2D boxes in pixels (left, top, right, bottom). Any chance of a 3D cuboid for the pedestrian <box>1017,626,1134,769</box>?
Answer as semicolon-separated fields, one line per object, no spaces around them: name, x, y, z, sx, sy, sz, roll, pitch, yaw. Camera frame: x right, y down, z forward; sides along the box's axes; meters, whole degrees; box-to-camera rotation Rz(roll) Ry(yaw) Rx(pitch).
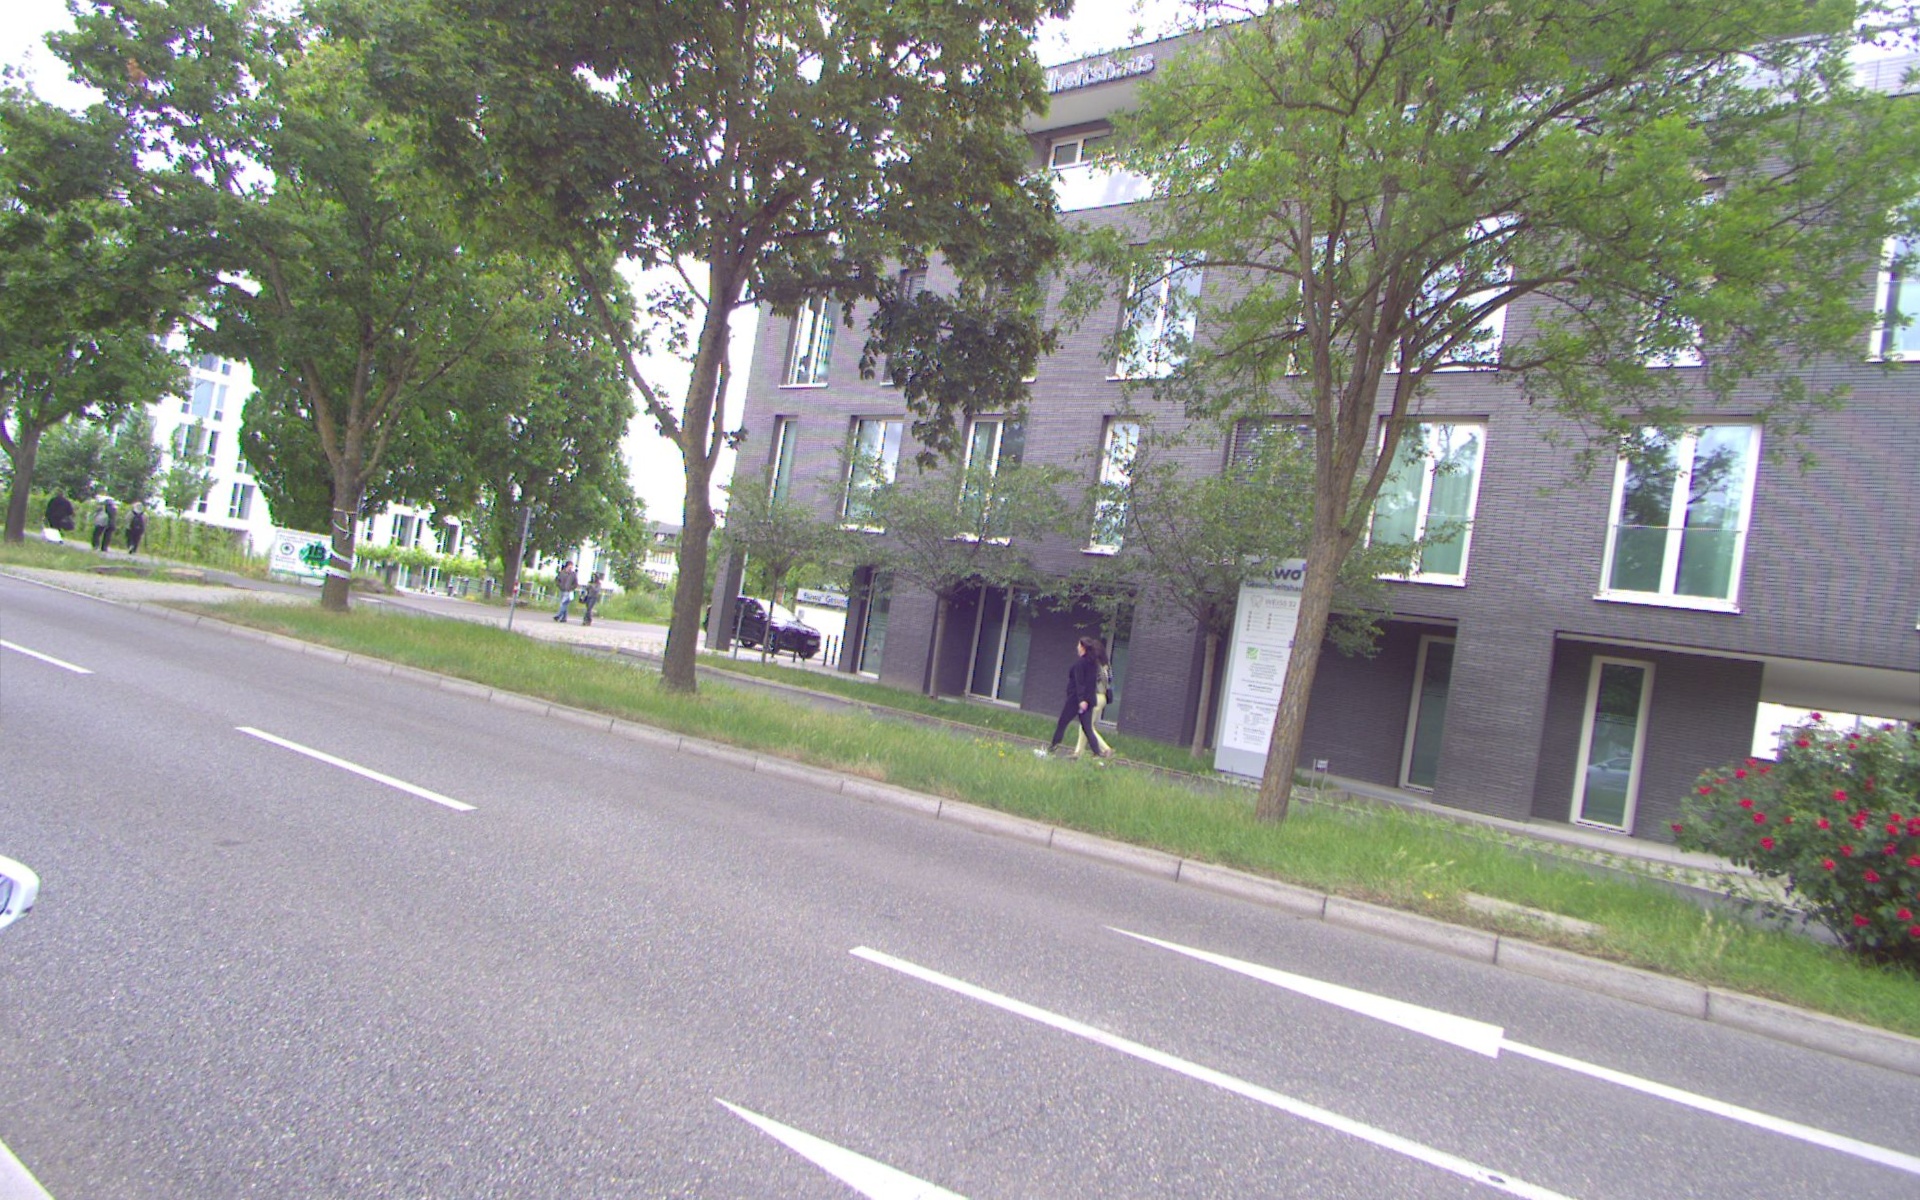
pedestrian;1.496;1.257;13.048;1.043;1.679;0.796;7;-1;38

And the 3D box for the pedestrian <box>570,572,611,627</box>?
pedestrian;-11.353;-0.011;30.957;0.821;1.575;0.875;8;-1;-8

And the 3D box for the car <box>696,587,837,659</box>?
car;-6.114;0.718;31.691;4.080;1.665;1.759;7;-2;32

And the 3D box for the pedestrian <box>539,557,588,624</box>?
pedestrian;-12.113;-0.274;30.786;0.946;1.889;0.978;8;-1;-8

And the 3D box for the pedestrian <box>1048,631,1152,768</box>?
pedestrian;1.895;1.339;13.612;0.937;1.679;0.779;7;-1;38

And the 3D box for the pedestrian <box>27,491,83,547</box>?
pedestrian;-26.481;-2.373;29.434;1.093;1.465;0.791;6;-1;31

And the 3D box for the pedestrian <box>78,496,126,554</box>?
pedestrian;-25.936;-2.263;30.402;0.868;1.614;0.701;6;-1;31

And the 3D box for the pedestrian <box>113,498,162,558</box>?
pedestrian;-25.515;-2.231;31.219;0.868;1.705;0.768;6;-1;31
